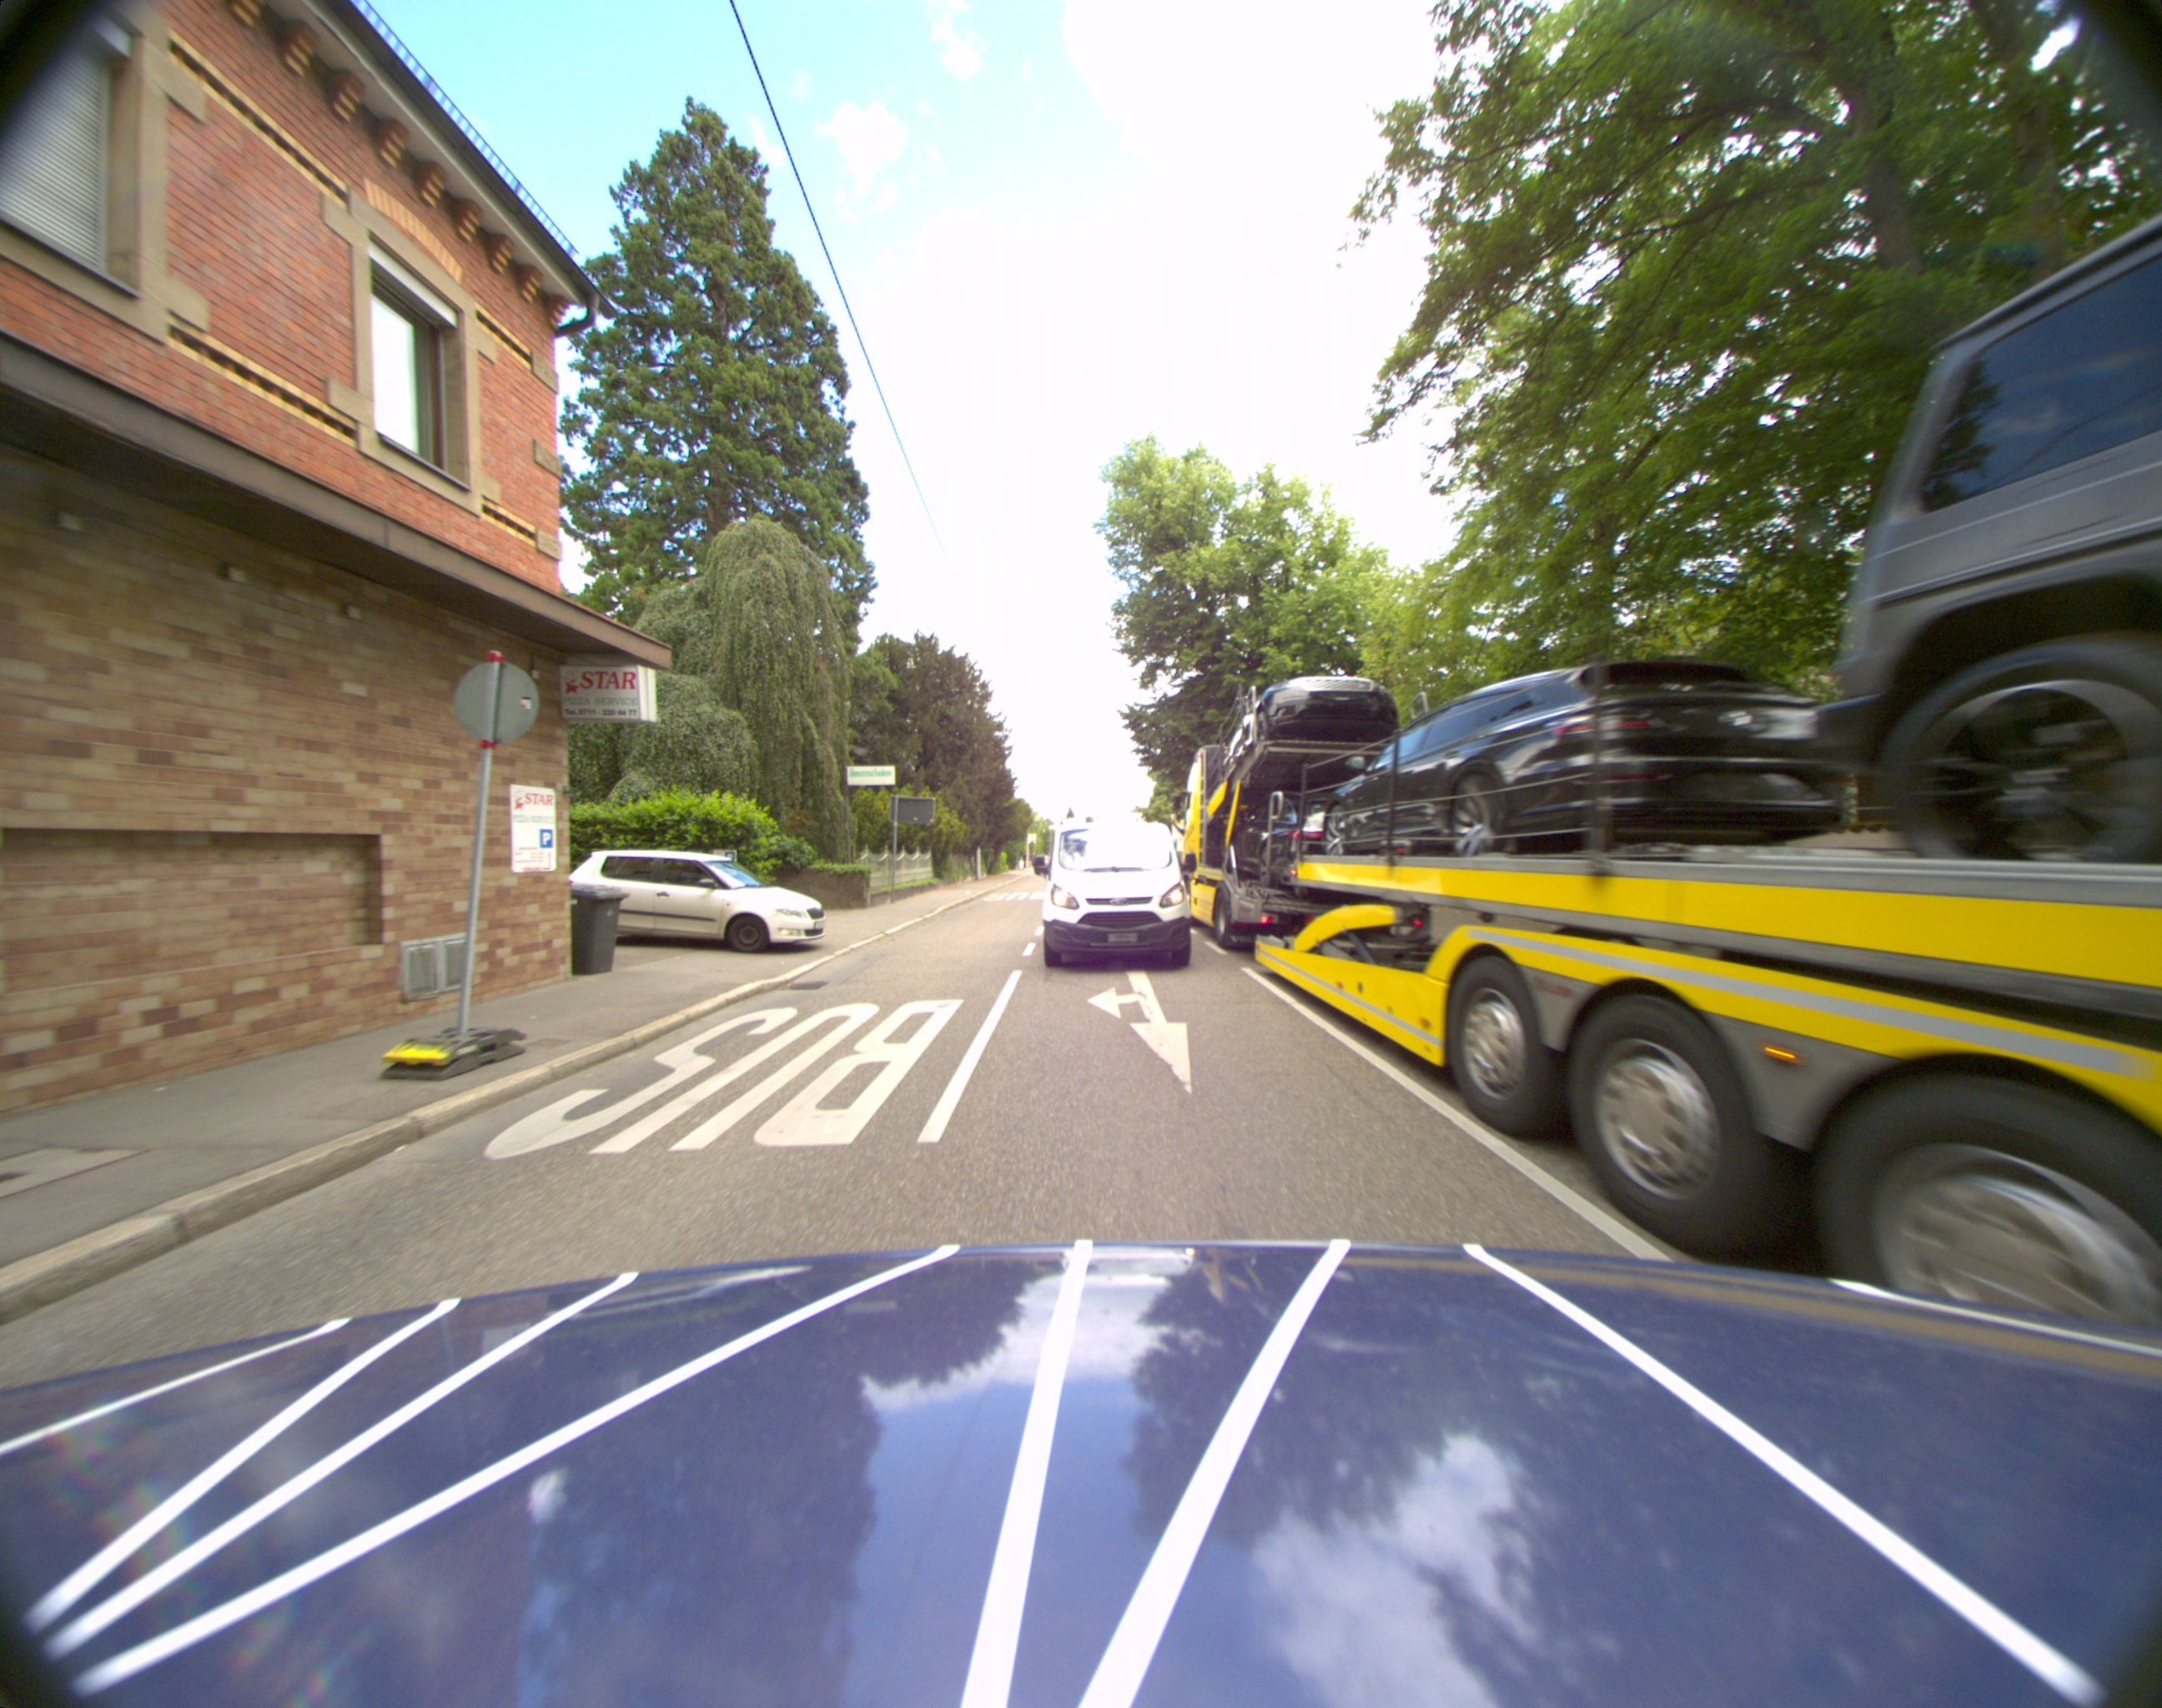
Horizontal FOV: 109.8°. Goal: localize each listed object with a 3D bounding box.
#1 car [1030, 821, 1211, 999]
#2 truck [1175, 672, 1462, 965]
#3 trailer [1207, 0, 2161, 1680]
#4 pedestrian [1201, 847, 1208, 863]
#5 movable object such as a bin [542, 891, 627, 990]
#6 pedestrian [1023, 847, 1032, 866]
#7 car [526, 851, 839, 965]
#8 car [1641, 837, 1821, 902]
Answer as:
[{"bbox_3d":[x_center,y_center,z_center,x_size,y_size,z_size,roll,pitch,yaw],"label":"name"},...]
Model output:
[{"bbox_3d":[0.411,0.587,11.479,1.999,1.961,5.713,-2,1,-1],"label":"car"},{"bbox_3d":[3.598,-0.520,13.822,2.851,3.761,7.668,-2,1,1],"label":"truck"},{"bbox_3d":[3.529,-0.388,5.485,2.865,3.786,14.388,-2,1,0],"label":"trailer"},{"bbox_3d":[12.610,0.082,77.557,0.672,1.549,0.520,-1,2,17],"label":"pedestrian"},{"bbox_3d":[-5.965,1.025,9.155,0.608,1.094,0.622,1,2,0],"label":"movable object such as a bin"},{"bbox_3d":[-5.241,0.249,74.075,0.488,1.757,0.672,-1,2,32],"label":"pedestrian"},{"bbox_3d":[-6.150,0.804,12.058,4.039,1.462,1.600,3,1,-2],"label":"car"},{"bbox_3d":[16.661,0.338,19.722,1.625,1.477,3.616,-2,1,1],"label":"car"}]
